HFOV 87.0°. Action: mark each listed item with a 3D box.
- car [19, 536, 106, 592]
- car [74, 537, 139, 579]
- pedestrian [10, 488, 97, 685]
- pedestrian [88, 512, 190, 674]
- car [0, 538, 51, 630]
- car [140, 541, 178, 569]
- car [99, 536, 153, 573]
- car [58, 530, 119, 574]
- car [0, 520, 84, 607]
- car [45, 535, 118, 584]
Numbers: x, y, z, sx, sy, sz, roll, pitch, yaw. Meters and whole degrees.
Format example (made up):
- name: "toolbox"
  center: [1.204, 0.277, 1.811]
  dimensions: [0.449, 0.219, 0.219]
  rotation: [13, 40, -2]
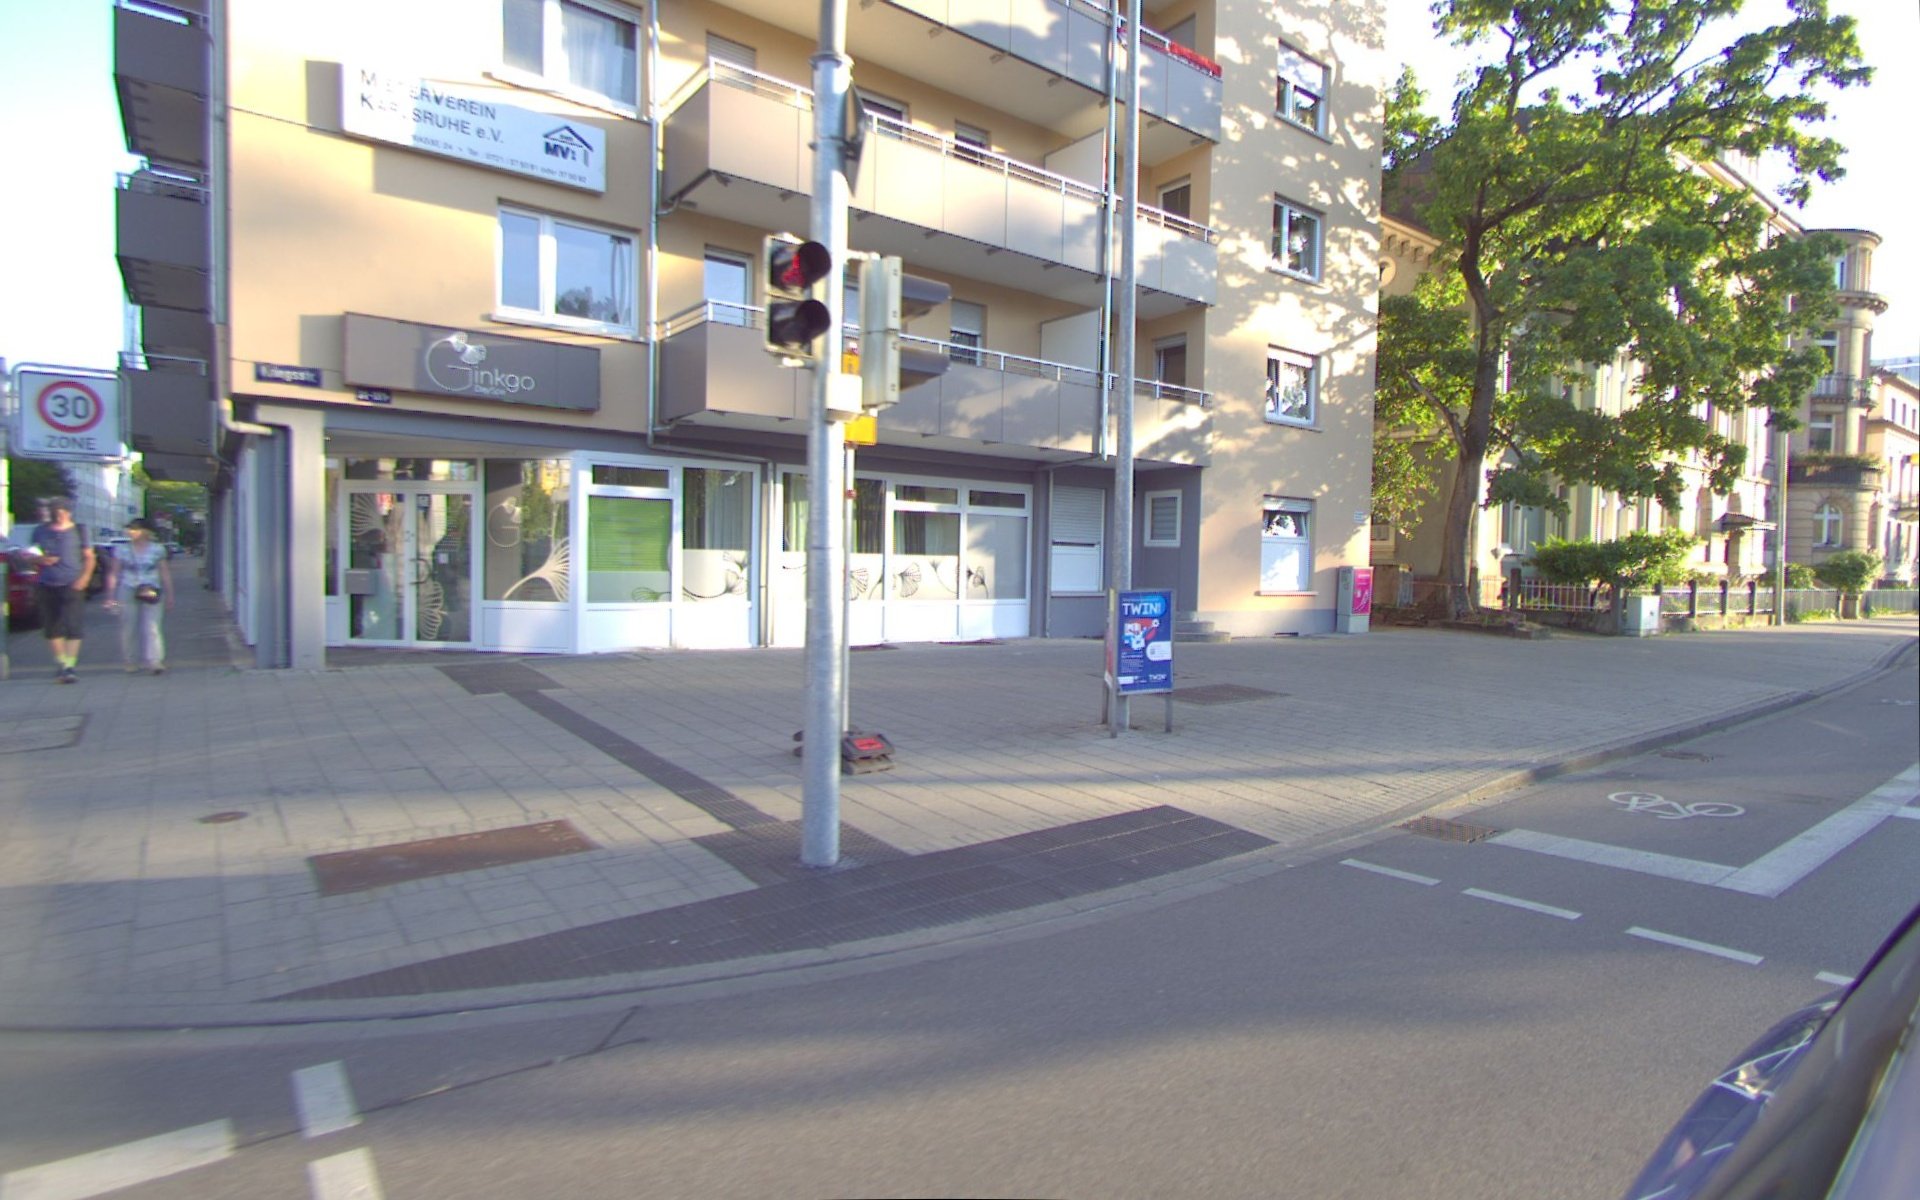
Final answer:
- name: "car"
  center: [-25.723, -1.081, 29.108]
  dimensions: [1.577, 1.504, 3.998]
  rotation: [-2, 4, -38]
- name: "car"
  center: [-41.388, -1.983, 49.180]
  dimensions: [2.119, 1.851, 4.779]
  rotation: [0, 0, -36]
- name: "pedestrian"
  center: [-9.080, -0.152, 10.165]
  dimensions: [0.534, 1.882, 0.840]
  rotation: [-2, 3, -37]
- name: "pedestrian"
  center: [-8.680, -0.094, 10.736]
  dimensions: [0.752, 1.634, 0.822]
  rotation: [-2, 3, -36]
- name: "car"
  center: [-17.033, -0.317, 17.658]
  dimensions: [1.629, 1.457, 4.222]
  rotation: [-5, 6, -41]
- name: "car"
  center: [-58.169, -3.210, 73.592]
  dimensions: [1.996, 1.851, 4.779]
  rotation: [0, 0, -36]
- name: "car"
  center: [-45.689, -2.469, 55.518]
  dimensions: [1.996, 1.851, 4.779]
  rotation: [0, 0, -36]
- name: "car"
  center: [-34.544, -1.855, 40.194]
  dimensions: [1.704, 1.575, 4.194]
  rotation: [0, 0, -39]
- name: "car"
  center: [-22.593, -0.907, 24.337]
  dimensions: [1.965, 1.886, 4.538]
  rotation: [-6, 6, -38]
- name: "car"
  center: [-28.640, -1.365, 33.079]
  dimensions: [1.577, 1.504, 4.248]
  rotation: [-2, 4, -38]
